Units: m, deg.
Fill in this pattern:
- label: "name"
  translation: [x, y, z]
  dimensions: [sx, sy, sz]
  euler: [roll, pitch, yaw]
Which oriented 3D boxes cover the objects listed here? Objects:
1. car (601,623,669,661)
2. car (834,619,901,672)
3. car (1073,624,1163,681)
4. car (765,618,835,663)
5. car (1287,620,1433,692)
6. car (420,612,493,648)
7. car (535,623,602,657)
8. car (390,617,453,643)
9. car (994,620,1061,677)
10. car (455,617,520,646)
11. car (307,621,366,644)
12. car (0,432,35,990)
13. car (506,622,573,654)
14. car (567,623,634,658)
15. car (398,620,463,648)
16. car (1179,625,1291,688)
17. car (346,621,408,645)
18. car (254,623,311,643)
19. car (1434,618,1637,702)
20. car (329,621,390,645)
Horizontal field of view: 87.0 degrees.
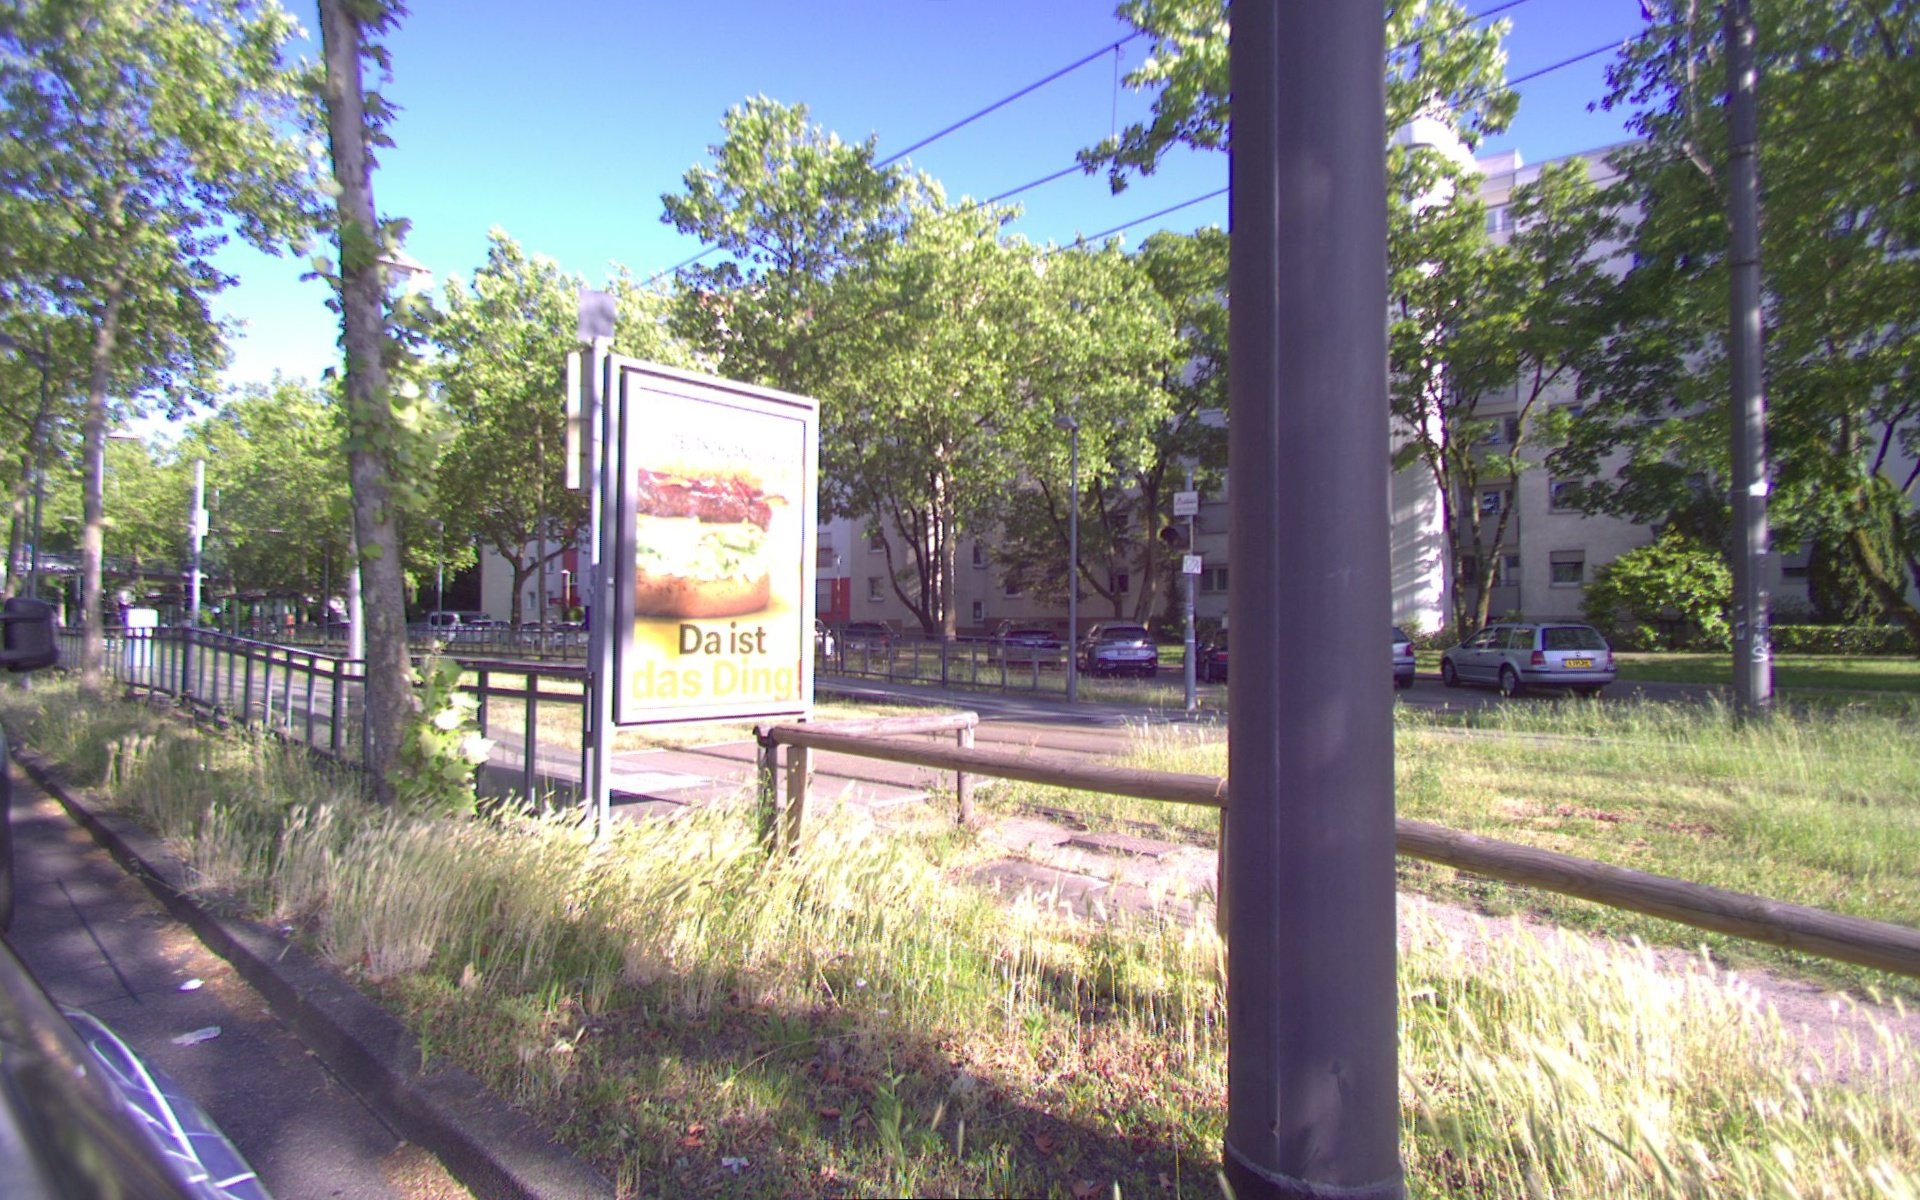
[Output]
- label: "car"
  translation: [-14.221, 1.805, 44.486]
  dimensions: [1.770, 1.510, 4.050]
  euler: [-1, -1, -1]
- label: "car"
  translation: [-3.117, 1.496, 34.804]
  dimensions: [1.771, 1.676, 4.047]
  euler: [-1, -1, 2]
- label: "car"
  translation: [4.239, 1.380, 27.700]
  dimensions: [1.770, 1.398, 4.049]
  euler: [-1, -1, 0]
- label: "car"
  translation: [-5.792, 1.445, 37.070]
  dimensions: [1.771, 1.510, 4.047]
  euler: [-1, -1, 2]
- label: "car"
  translation: [9.213, 1.234, 23.679]
  dimensions: [1.740, 1.498, 4.049]
  euler: [-1, -1, 0]
- label: "car"
  translation: [-28.426, 1.678, 57.302]
  dimensions: [1.993, 1.934, 4.433]
  euler: [-1, -1, -1]
- label: "car"
  translation: [-19.106, 1.917, 49.563]
  dimensions: [1.770, 1.510, 4.050]
  euler: [-1, -1, -1]
- label: "car"
  translation: [-33.007, 1.818, 62.161]
  dimensions: [1.770, 1.510, 4.050]
  euler: [-1, -1, -1]
- label: "car"
  translation: [1.906, 1.375, 29.748]
  dimensions: [1.771, 1.510, 4.047]
  euler: [-1, -1, 2]
- label: "car"
  translation: [-25.971, 1.722, 55.742]
  dimensions: [1.770, 1.510, 4.050]
  euler: [-1, -1, -1]
- label: "car"
  translation: [-44.686, 2.314, 72.615]
  dimensions: [1.770, 1.510, 4.050]
  euler: [-1, -1, -1]
- label: "car"
  translation: [-6.545, 0.469, 5.202]
  dimensions: [5.659, 2.221, 2.013]
  euler: [-1, -2, 41]
- label: "car"
  translation: [-21.245, 1.900, 51.294]
  dimensions: [1.770, 1.510, 4.050]
  euler: [-1, -1, -1]
- label: "car"
  translation: [-16.775, 1.857, 47.372]
  dimensions: [1.770, 1.510, 4.050]
  euler: [-1, -1, -1]
- label: "car"
  translation: [-31.005, 1.958, 59.425]
  dimensions: [1.770, 1.510, 4.050]
  euler: [-1, -1, -1]
- label: "car"
  translation: [6.754, 1.343, 25.266]
  dimensions: [1.654, 1.398, 4.049]
  euler: [-1, -1, 0]
- label: "car"
  translation: [-37.615, 2.110, 65.441]
  dimensions: [1.770, 1.510, 4.050]
  euler: [-1, -1, -1]
- label: "car"
  translation: [-53.052, 2.561, 79.320]
  dimensions: [1.770, 1.510, 4.050]
  euler: [-1, -1, -1]
- label: "car"
  translation: [11.592, 1.147, 20.735]
  dimensions: [1.789, 1.498, 4.049]
  euler: [-1, -1, 0]
- label: "car"
  translation: [-40.125, 2.181, 67.700]
  dimensions: [1.770, 1.510, 4.050]
  euler: [-1, -1, -1]
